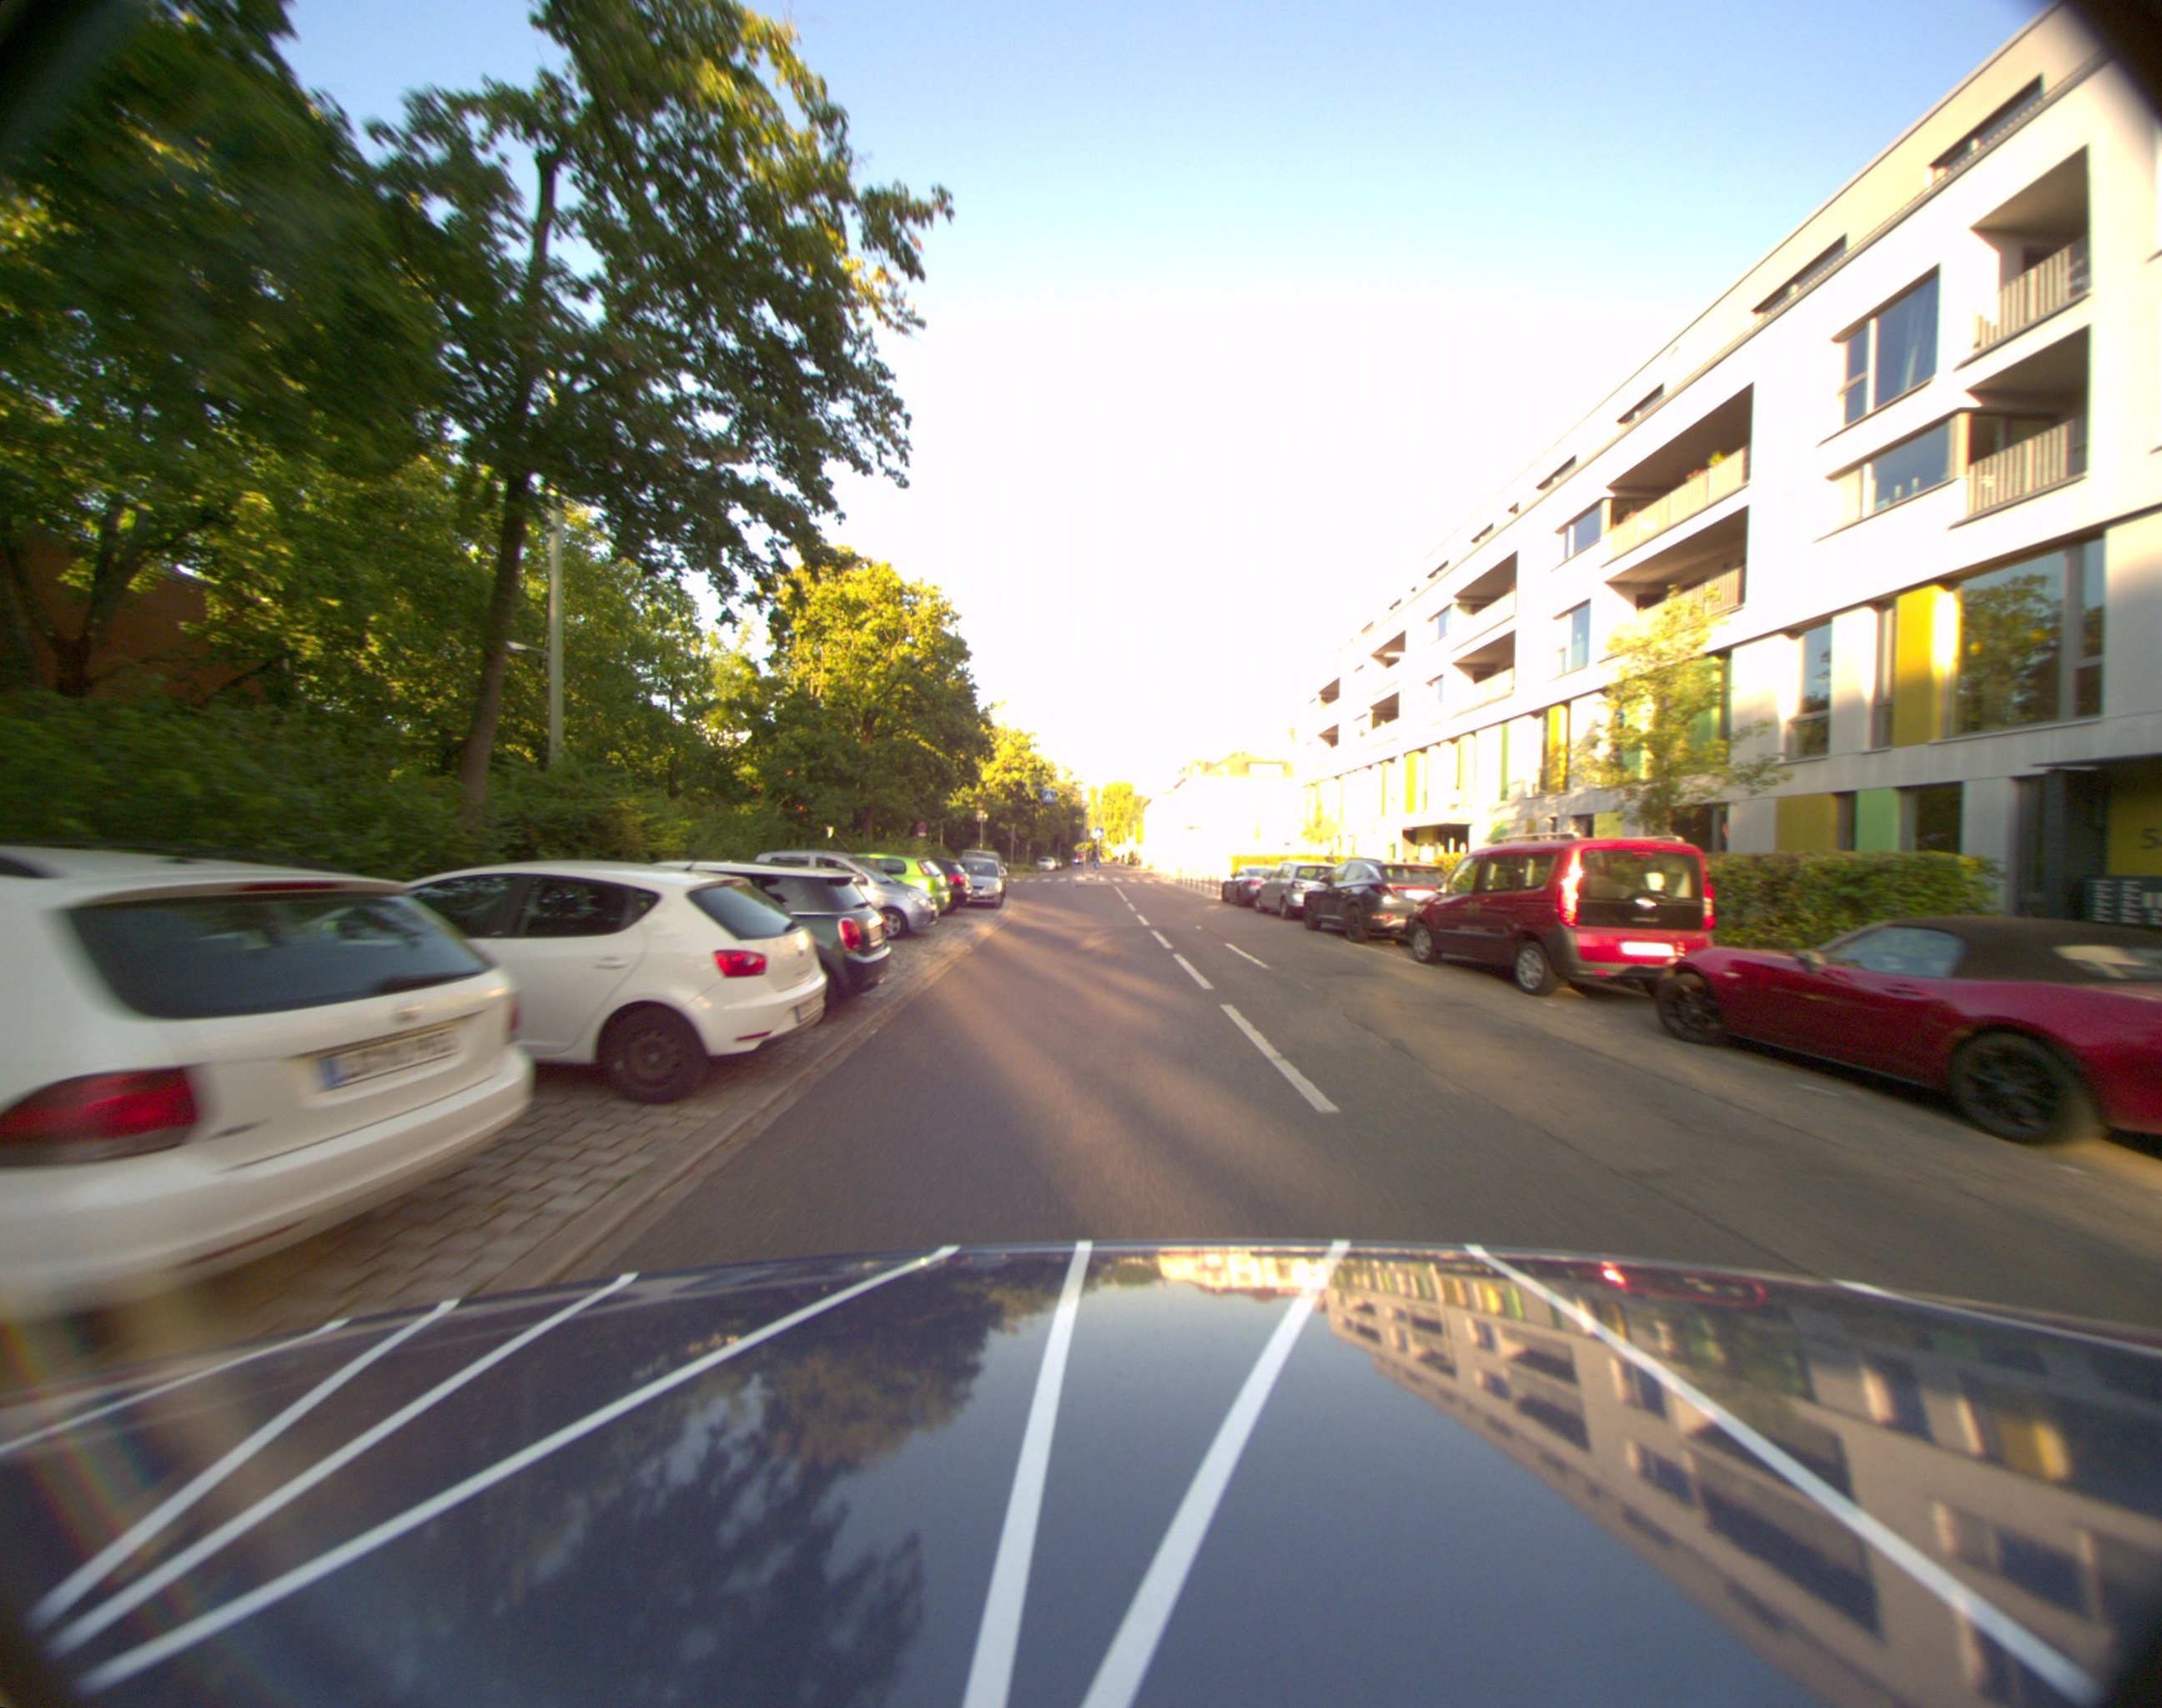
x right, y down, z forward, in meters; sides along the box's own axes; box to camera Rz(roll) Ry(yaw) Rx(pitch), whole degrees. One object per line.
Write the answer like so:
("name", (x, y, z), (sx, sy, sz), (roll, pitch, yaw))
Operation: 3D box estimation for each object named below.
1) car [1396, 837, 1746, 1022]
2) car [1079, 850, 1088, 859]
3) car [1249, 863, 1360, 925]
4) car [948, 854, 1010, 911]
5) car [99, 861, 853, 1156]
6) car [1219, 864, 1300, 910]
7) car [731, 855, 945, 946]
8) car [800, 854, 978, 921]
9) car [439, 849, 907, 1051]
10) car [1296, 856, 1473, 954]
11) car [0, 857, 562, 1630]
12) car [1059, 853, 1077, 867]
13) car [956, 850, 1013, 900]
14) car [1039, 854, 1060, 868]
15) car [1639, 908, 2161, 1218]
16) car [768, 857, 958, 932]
("car", (6.029, 0.816, 10.104), (1.812, 1.878, 4.238), (2, 0, -1))
("car", (0.596, 0.098, 179.361), (2.228, 2.002, 4.890), (0, 0, 1))
("car", (6.099, 1.023, 21.234), (1.747, 1.524, 4.115), (1, 0, -2))
("car", (-3.070, 0.818, 23.477), (1.655, 1.558, 4.299), (2, -1, -5))
("car", (-3.715, 0.908, 5.238), (3.676, 1.436, 1.735), (4, 0, -2))
("car", (6.008, 1.059, 26.105), (1.746, 1.348, 4.396), (2, 0, 0))
("car", (-4.366, 0.807, 14.010), (3.394, 1.517, 1.671), (1, 0, 0))
("car", (-4.710, 0.803, 19.030), (3.959, 1.503, 1.739), (2, 0, 0))
("car", (-3.766, 0.856, 7.522), (3.619, 1.516, 1.671), (4, 0, -2))
("car", (5.958, 0.916, 15.548), (1.746, 1.666, 4.416), (2, 0, -1))
("car", (-4.202, 0.825, 2.500), (3.676, 1.543, 1.735), (4, 0, -2))
("car", (-1.490, 0.710, 86.920), (1.752, 1.478, 4.510), (1, 0, 3))
("car", (-3.824, 0.736, 29.427), (1.928, 1.738, 4.662), (2, 0, -10))
("car", (-3.301, 0.704, 80.671), (1.752, 1.478, 4.177), (0, 0, 4))
("car", (5.921, 1.141, 5.079), (1.560, 1.272, 3.733), (2, 0, -1))
("car", (-4.643, 0.838, 16.548), (3.636, 1.531, 1.671), (0, 0, 1))
